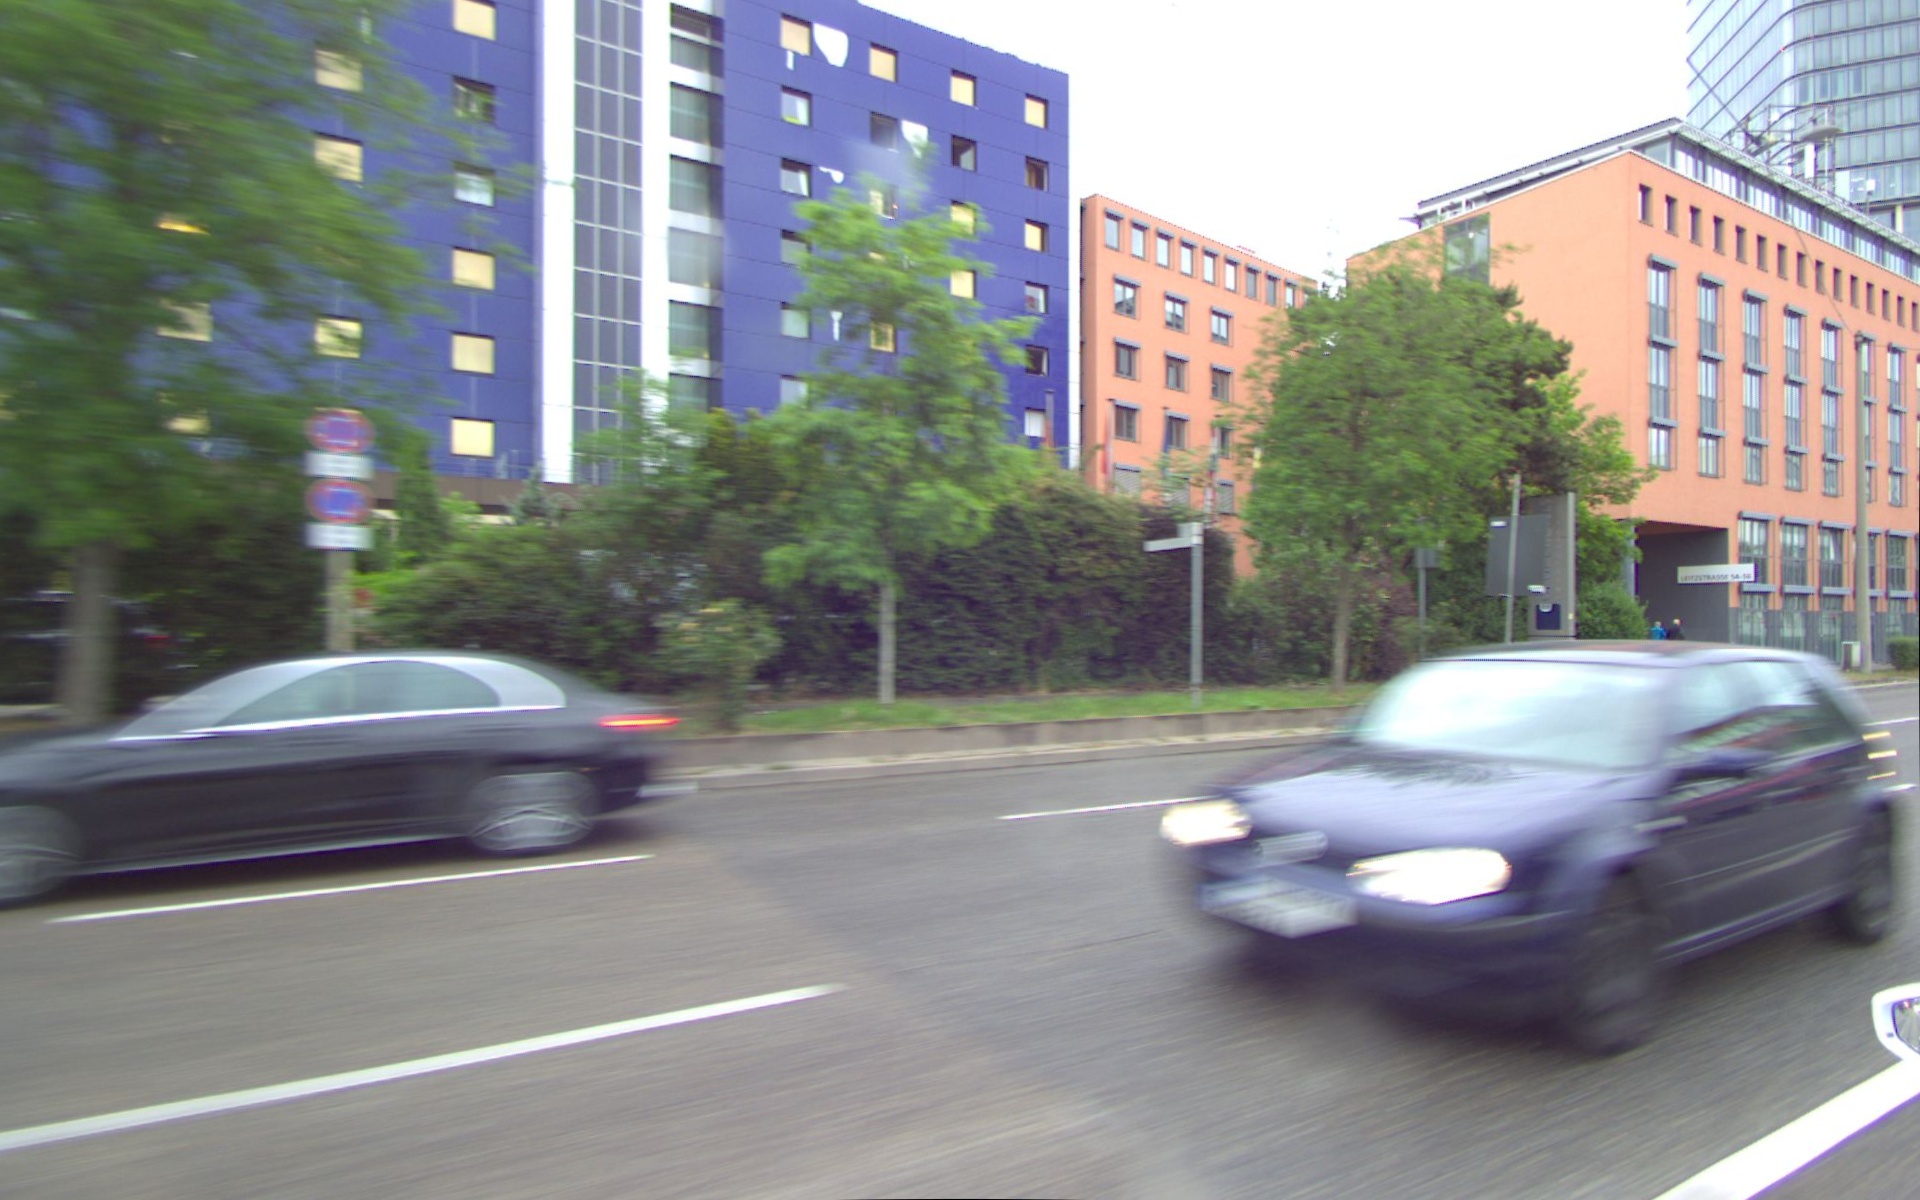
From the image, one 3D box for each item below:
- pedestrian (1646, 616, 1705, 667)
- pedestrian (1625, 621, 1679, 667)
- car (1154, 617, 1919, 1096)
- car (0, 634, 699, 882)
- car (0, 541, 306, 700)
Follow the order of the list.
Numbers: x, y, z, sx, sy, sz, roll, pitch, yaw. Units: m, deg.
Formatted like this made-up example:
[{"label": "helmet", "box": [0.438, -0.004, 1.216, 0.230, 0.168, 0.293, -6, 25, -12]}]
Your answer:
[{"label": "pedestrian", "box": [26.900, 1.584, 37.770, 1.422, 1.847, 1.309, 3, -5, -30]}, {"label": "pedestrian", "box": [26.499, 1.706, 38.457, 1.403, 1.700, 1.201, 3, -5, -30]}, {"label": "car", "box": [2.922, 0.864, 4.856, 3.775, 1.505, 1.651, 1, -2, -31]}, {"label": "car", "box": [-4.248, 0.947, 7.122, 4.392, 1.341, 1.614, 1, -3, -29]}, {"label": "car", "box": [-11.928, 0.366, 14.228, 4.266, 2.039, 1.828, 3, -5, -31]}]
